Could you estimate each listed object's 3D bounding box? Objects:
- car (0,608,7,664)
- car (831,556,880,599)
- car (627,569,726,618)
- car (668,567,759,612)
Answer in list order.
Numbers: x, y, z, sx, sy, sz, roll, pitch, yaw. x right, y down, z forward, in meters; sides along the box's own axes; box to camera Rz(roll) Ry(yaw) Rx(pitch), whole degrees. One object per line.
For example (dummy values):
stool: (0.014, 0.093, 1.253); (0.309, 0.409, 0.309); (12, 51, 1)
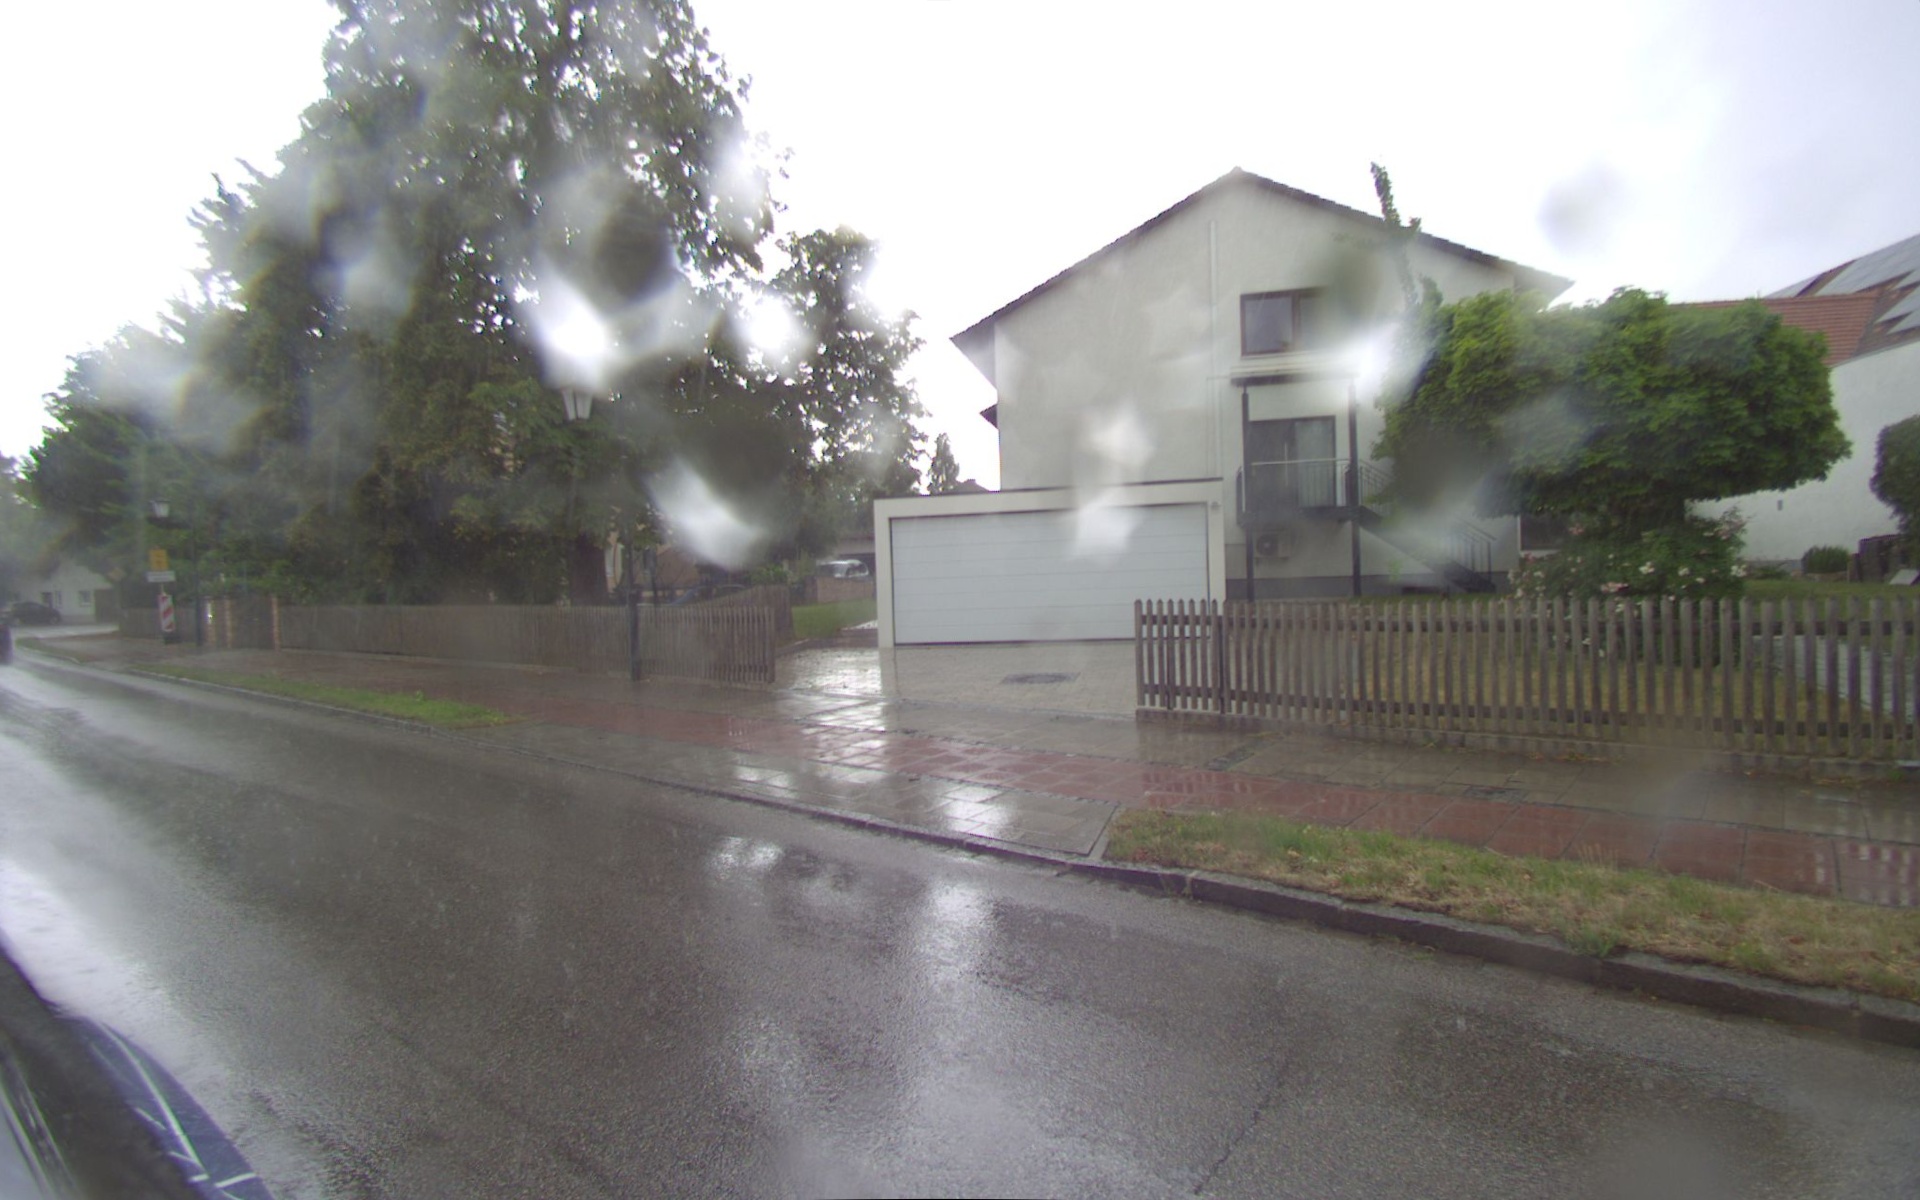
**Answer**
car: (-28.440, 1.032, 28.729); (4.186, 1.532, 1.621); (-1, -1, 41)
car: (-5.899, -1.243, 57.497); (1.768, 2.311, 3.838); (-1, 0, 11)
car: (-12.253, -0.308, 43.910); (3.613, 1.815, 1.839); (-3, 2, 7)
car: (-11.336, -0.493, 46.686); (3.613, 1.815, 1.839); (-3, 2, 7)
